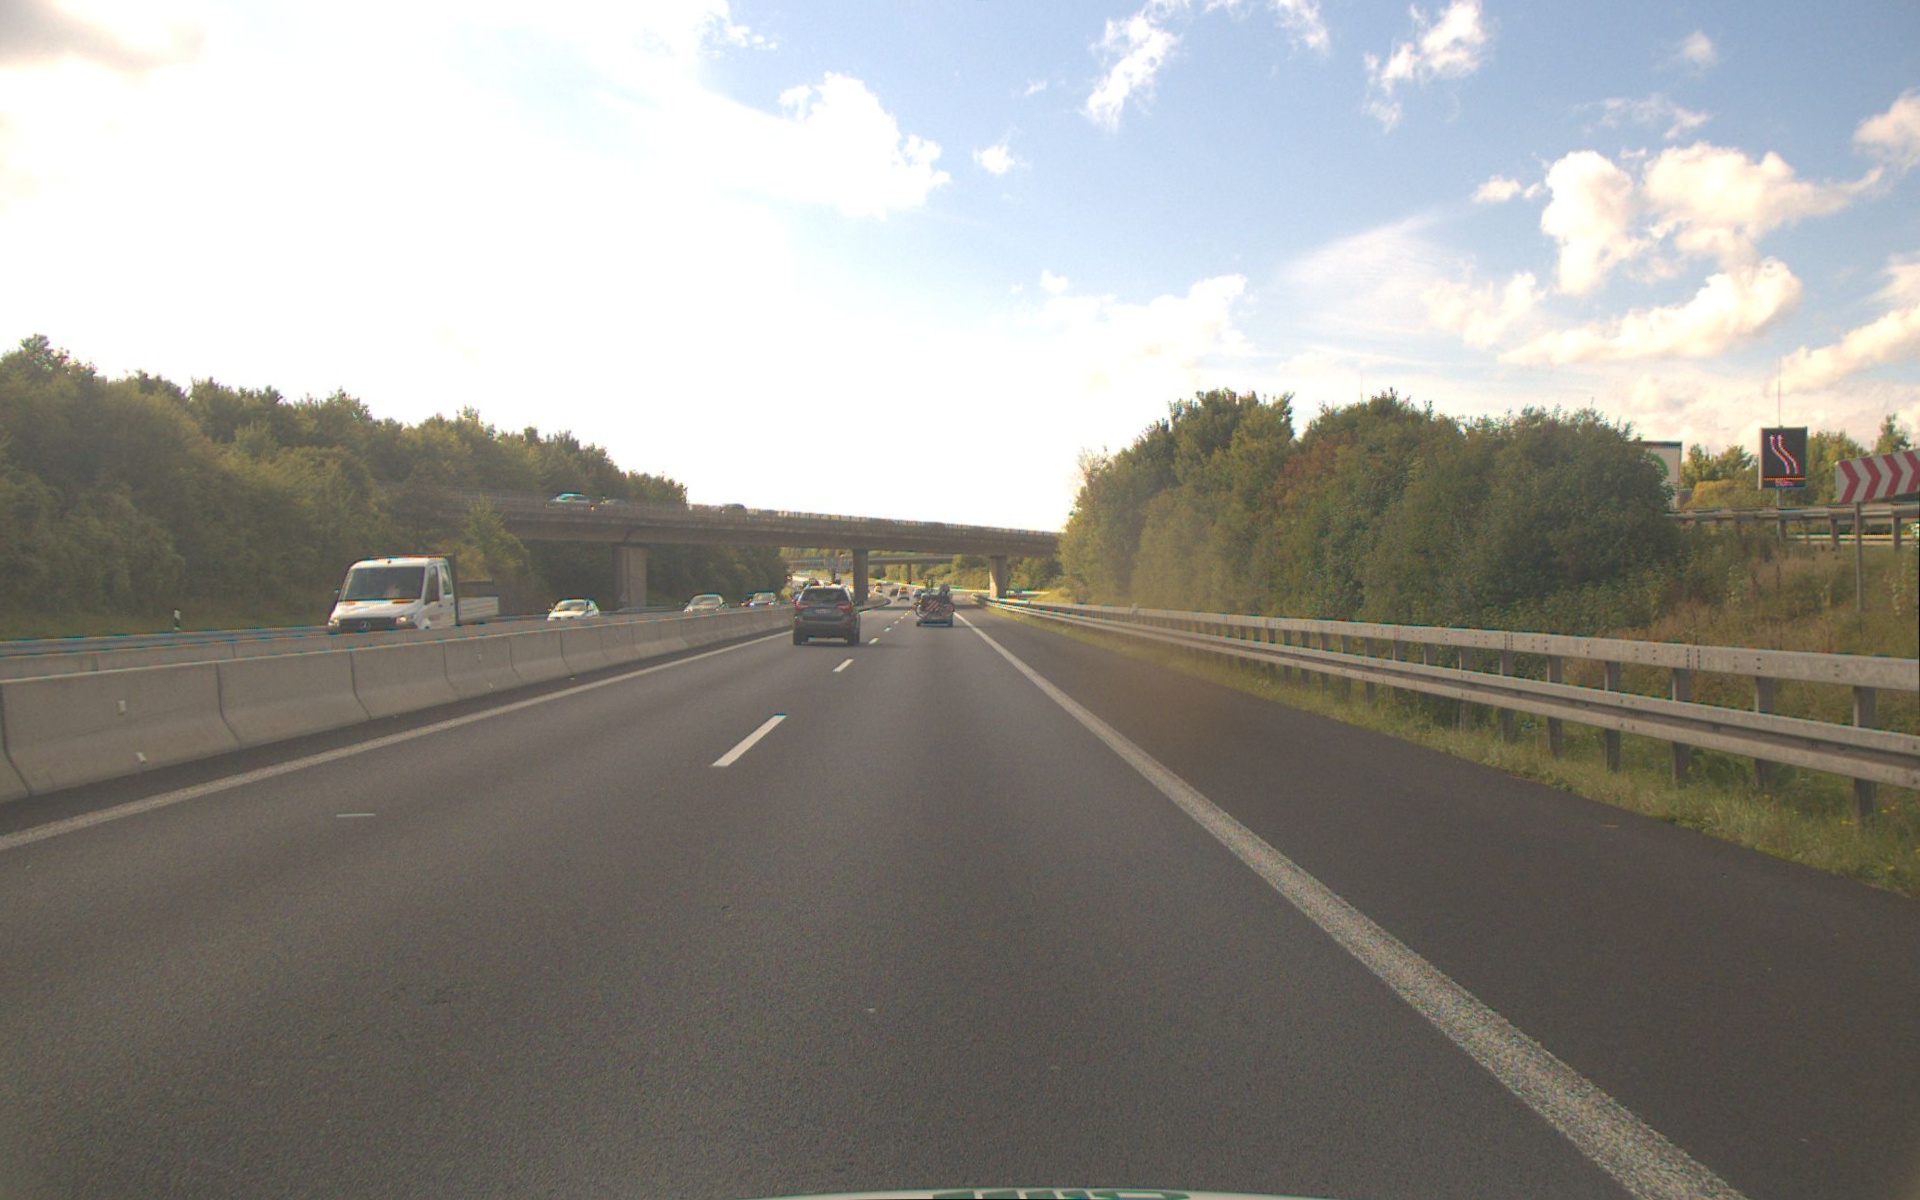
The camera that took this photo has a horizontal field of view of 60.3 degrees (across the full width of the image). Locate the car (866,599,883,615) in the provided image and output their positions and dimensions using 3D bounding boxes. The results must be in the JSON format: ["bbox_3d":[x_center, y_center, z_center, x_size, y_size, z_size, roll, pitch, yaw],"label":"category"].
[{"bbox_3d":[-11.076,0.891,214.537,1.953,2.049,3.999,-2,0,-1],"label":"car"}]

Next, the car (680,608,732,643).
[{"bbox_3d":[-13.100,1.271,85.542,1.953,1.677,5.194,-2,0,-1],"label":"car"}]

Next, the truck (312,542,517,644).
[{"bbox_3d":[-12.332,-0.147,38.100,2.328,2.049,7.435,-2,0,-1],"label":"truck"}]

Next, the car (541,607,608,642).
[{"bbox_3d":[-17.288,1.077,74.400,1.953,1.461,4.723,-2,0,-1],"label":"car"}]

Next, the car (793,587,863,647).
[{"bbox_3d":[-3.870,0.486,49.058,1.714,1.659,3.609,-2,0,1],"label":"car"}]

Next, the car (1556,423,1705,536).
[{"bbox_3d":[25.822,-4.540,64.133,3.500,3.741,7.555,-2,0,8],"label":"car"}]

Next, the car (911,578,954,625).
[{"bbox_3d":[-1.287,0.068,78.637,1.953,2.117,3.999,-2,0,-1],"label":"car"}]

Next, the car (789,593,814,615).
[{"bbox_3d":[-14.827,0.388,154.941,1.953,1.929,5.187,-2,0,-1],"label":"car"}]

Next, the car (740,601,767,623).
[{"bbox_3d":[-19.057,1.106,152.717,1.953,1.929,4.821,-2,0,-1],"label":"car"}]

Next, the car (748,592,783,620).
[{"bbox_3d":[-14.015,0.439,119.516,1.953,1.929,5.139,-2,0,-1],"label":"car"}]

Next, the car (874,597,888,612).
[{"bbox_3d":[-11.213,0.573,235.044,1.953,2.049,3.999,-2,0,-1],"label":"car"}]
